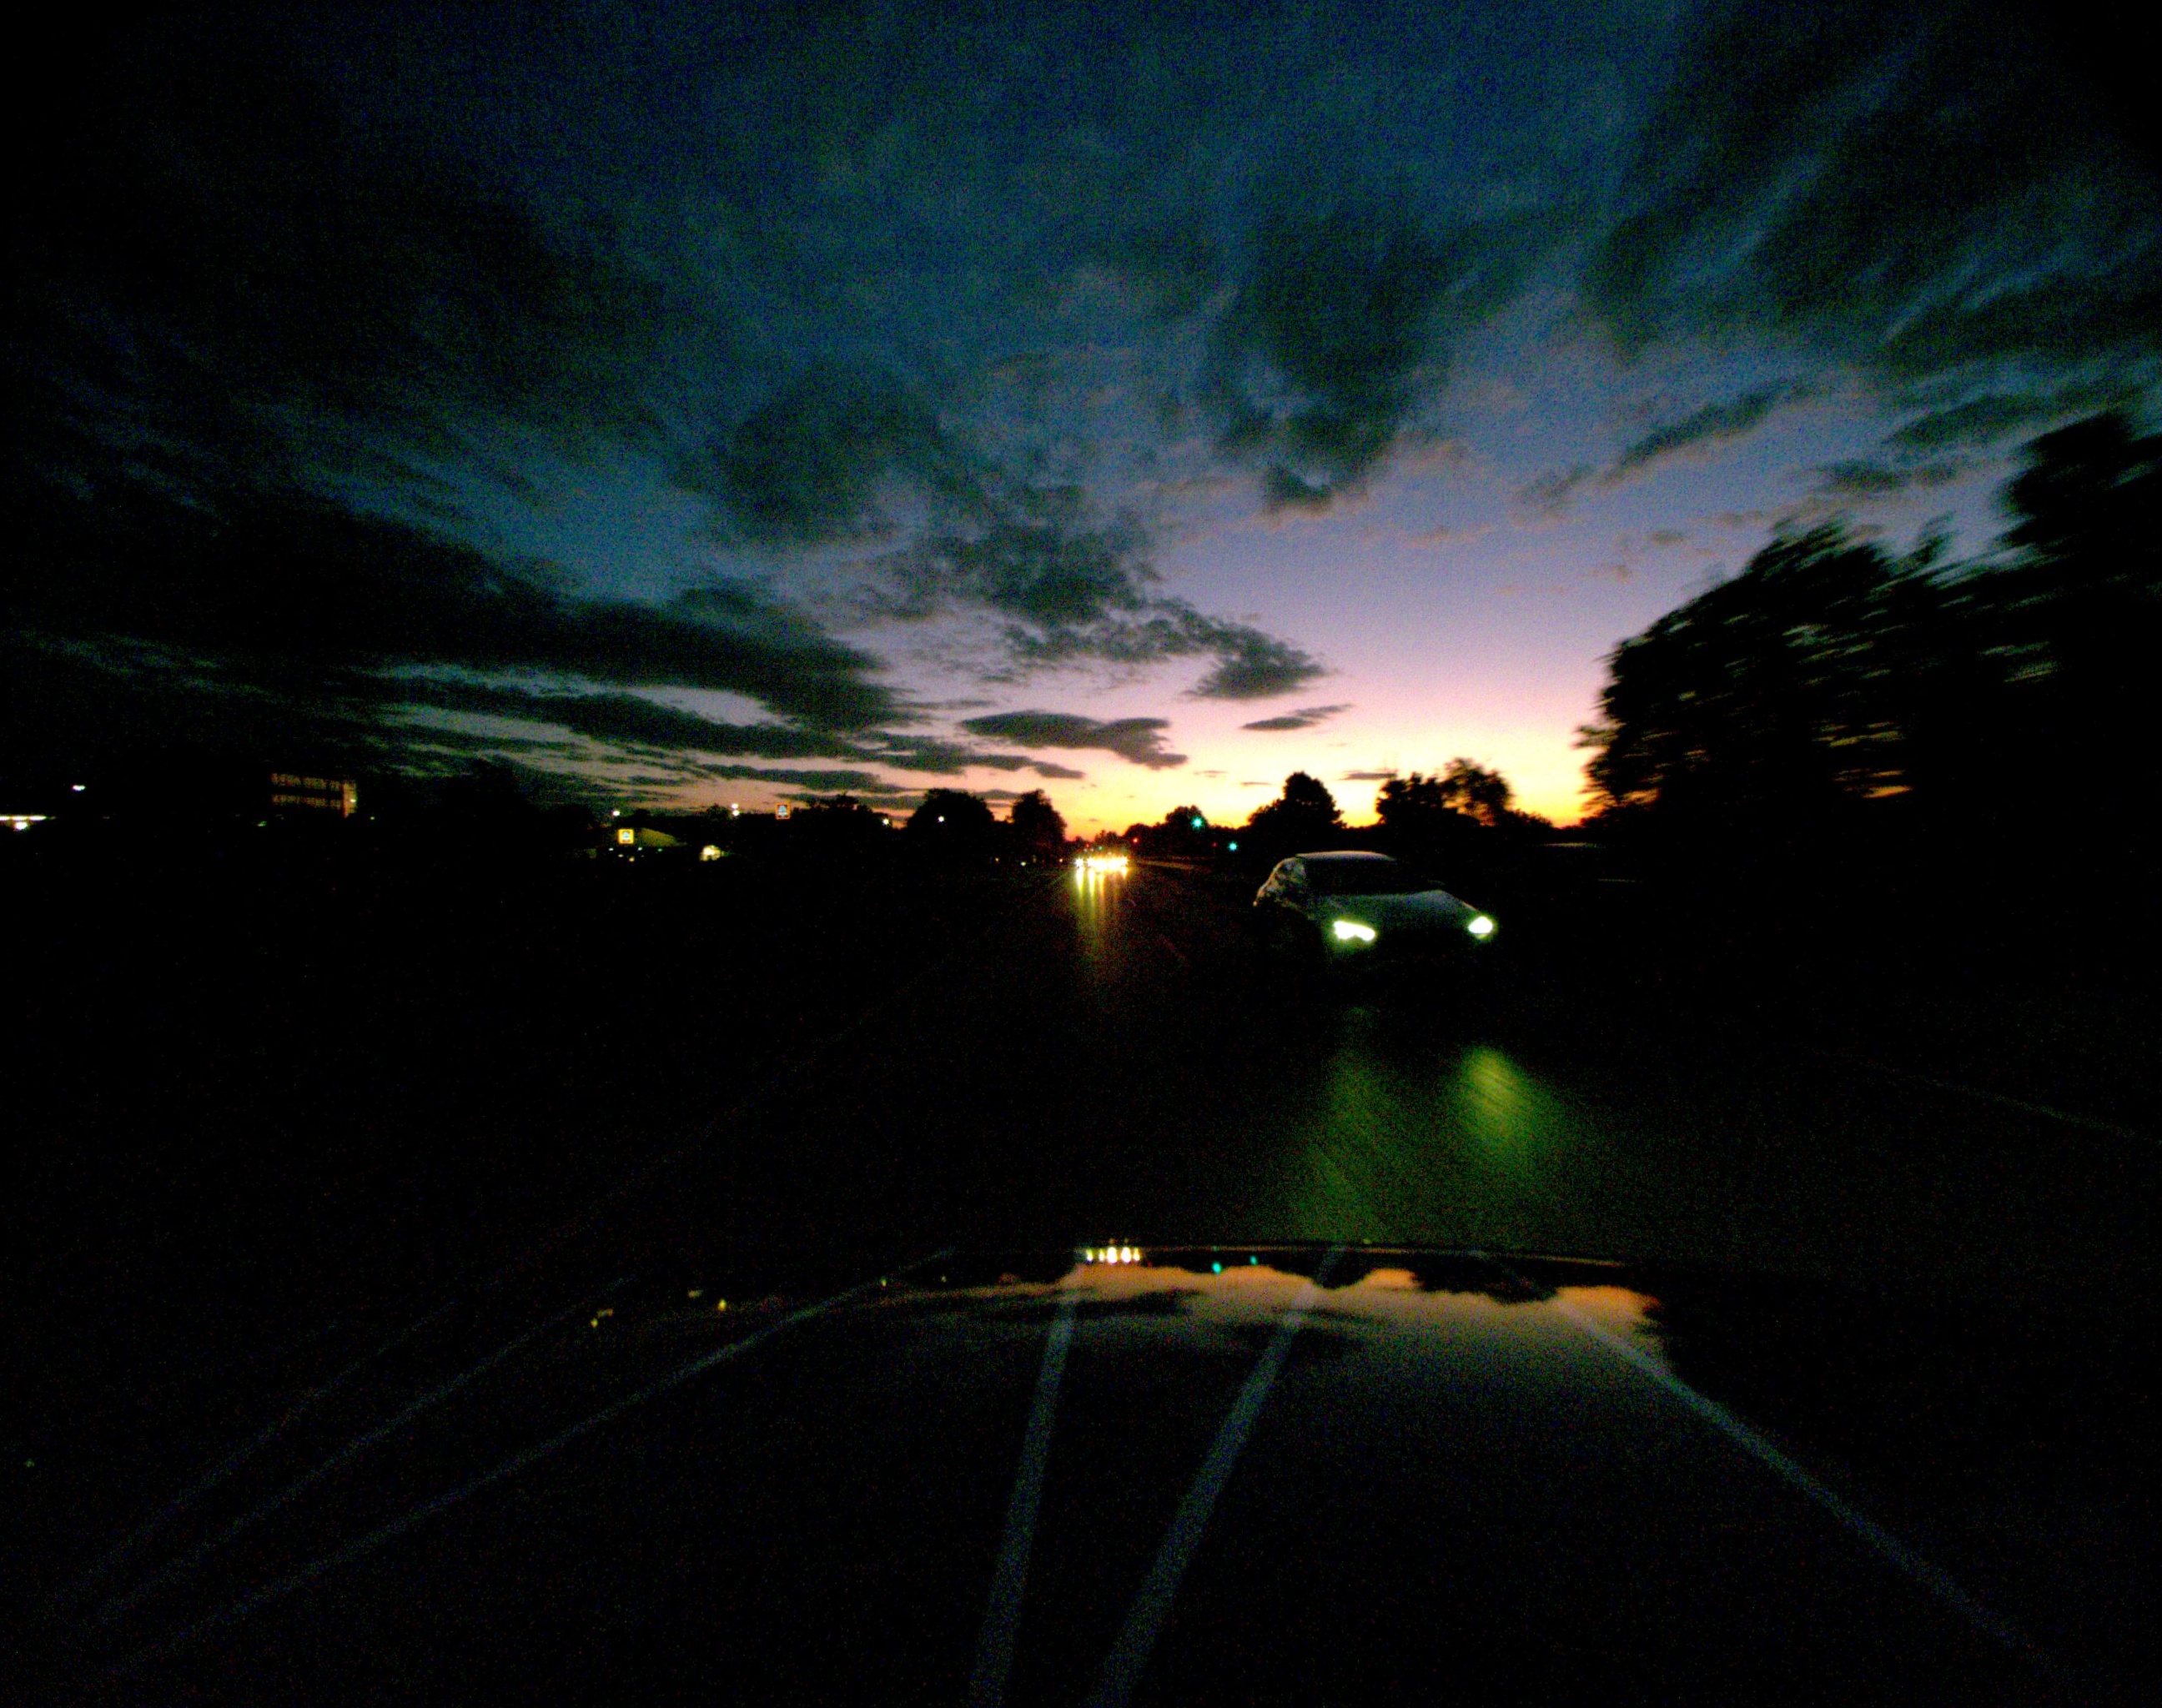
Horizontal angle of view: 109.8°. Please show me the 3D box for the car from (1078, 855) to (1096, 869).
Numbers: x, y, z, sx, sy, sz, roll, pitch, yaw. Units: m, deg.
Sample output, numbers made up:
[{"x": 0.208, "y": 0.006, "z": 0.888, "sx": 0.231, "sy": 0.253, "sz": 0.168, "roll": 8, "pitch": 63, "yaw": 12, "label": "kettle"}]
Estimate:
[{"x": 0.725, "y": 0.939, "z": 89.194, "sx": 1.902, "sy": 1.547, "sz": 4.301, "roll": -4, "pitch": 0, "yaw": 1, "label": "car"}]

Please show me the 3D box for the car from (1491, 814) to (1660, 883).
[{"x": 12.406, "y": -0.136, "z": 19.406, "sx": 1.659, "sy": 1.496, "sz": 4.000, "roll": -3, "pitch": 0, "yaw": 0, "label": "car"}]

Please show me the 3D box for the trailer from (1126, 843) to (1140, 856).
[{"x": 16.376, "y": -1.506, "z": 239.867, "sx": 2.585, "sy": 3.920, "sz": 8.870, "roll": 1, "pitch": 1, "yaw": -7, "label": "trailer"}]

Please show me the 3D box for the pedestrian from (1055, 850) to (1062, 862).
[{"x": -3.713, "y": 0.383, "z": 126.528, "sx": 0.782, "sy": 2.002, "sz": 0.712, "roll": -4, "pitch": 2, "yaw": -38, "label": "pedestrian"}]

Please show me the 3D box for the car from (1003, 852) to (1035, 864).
[{"x": -8.779, "y": 0.533, "z": 107.316, "sx": 4.476, "sy": 1.654, "sz": 1.999, "roll": 0, "pitch": 0, "yaw": -5, "label": "car"}]

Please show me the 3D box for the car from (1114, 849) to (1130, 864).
[{"x": 5.014, "y": 0.302, "z": 93.115, "sx": 1.760, "sy": 1.692, "sz": 4.250, "roll": -3, "pitch": 0, "yaw": 1, "label": "car"}]

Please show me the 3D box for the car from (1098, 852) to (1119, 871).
[{"x": 2.283, "y": 0.632, "z": 64.025, "sx": 1.663, "sy": 1.528, "sz": 3.715, "roll": -3, "pitch": 0, "yaw": 1, "label": "car"}]

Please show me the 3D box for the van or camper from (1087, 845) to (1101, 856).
[{"x": 3.725, "y": -1.088, "z": 222.888, "sx": 3.949, "sy": 3.107, "sz": 9.942, "roll": -1, "pitch": 0, "yaw": 1, "label": "van or camper"}]

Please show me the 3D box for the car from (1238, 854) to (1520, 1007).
[{"x": 3.352, "y": 0.761, "z": 9.643, "sx": 1.819, "sy": 1.428, "sz": 4.647, "roll": -2, "pitch": 0, "yaw": 1, "label": "car"}]
